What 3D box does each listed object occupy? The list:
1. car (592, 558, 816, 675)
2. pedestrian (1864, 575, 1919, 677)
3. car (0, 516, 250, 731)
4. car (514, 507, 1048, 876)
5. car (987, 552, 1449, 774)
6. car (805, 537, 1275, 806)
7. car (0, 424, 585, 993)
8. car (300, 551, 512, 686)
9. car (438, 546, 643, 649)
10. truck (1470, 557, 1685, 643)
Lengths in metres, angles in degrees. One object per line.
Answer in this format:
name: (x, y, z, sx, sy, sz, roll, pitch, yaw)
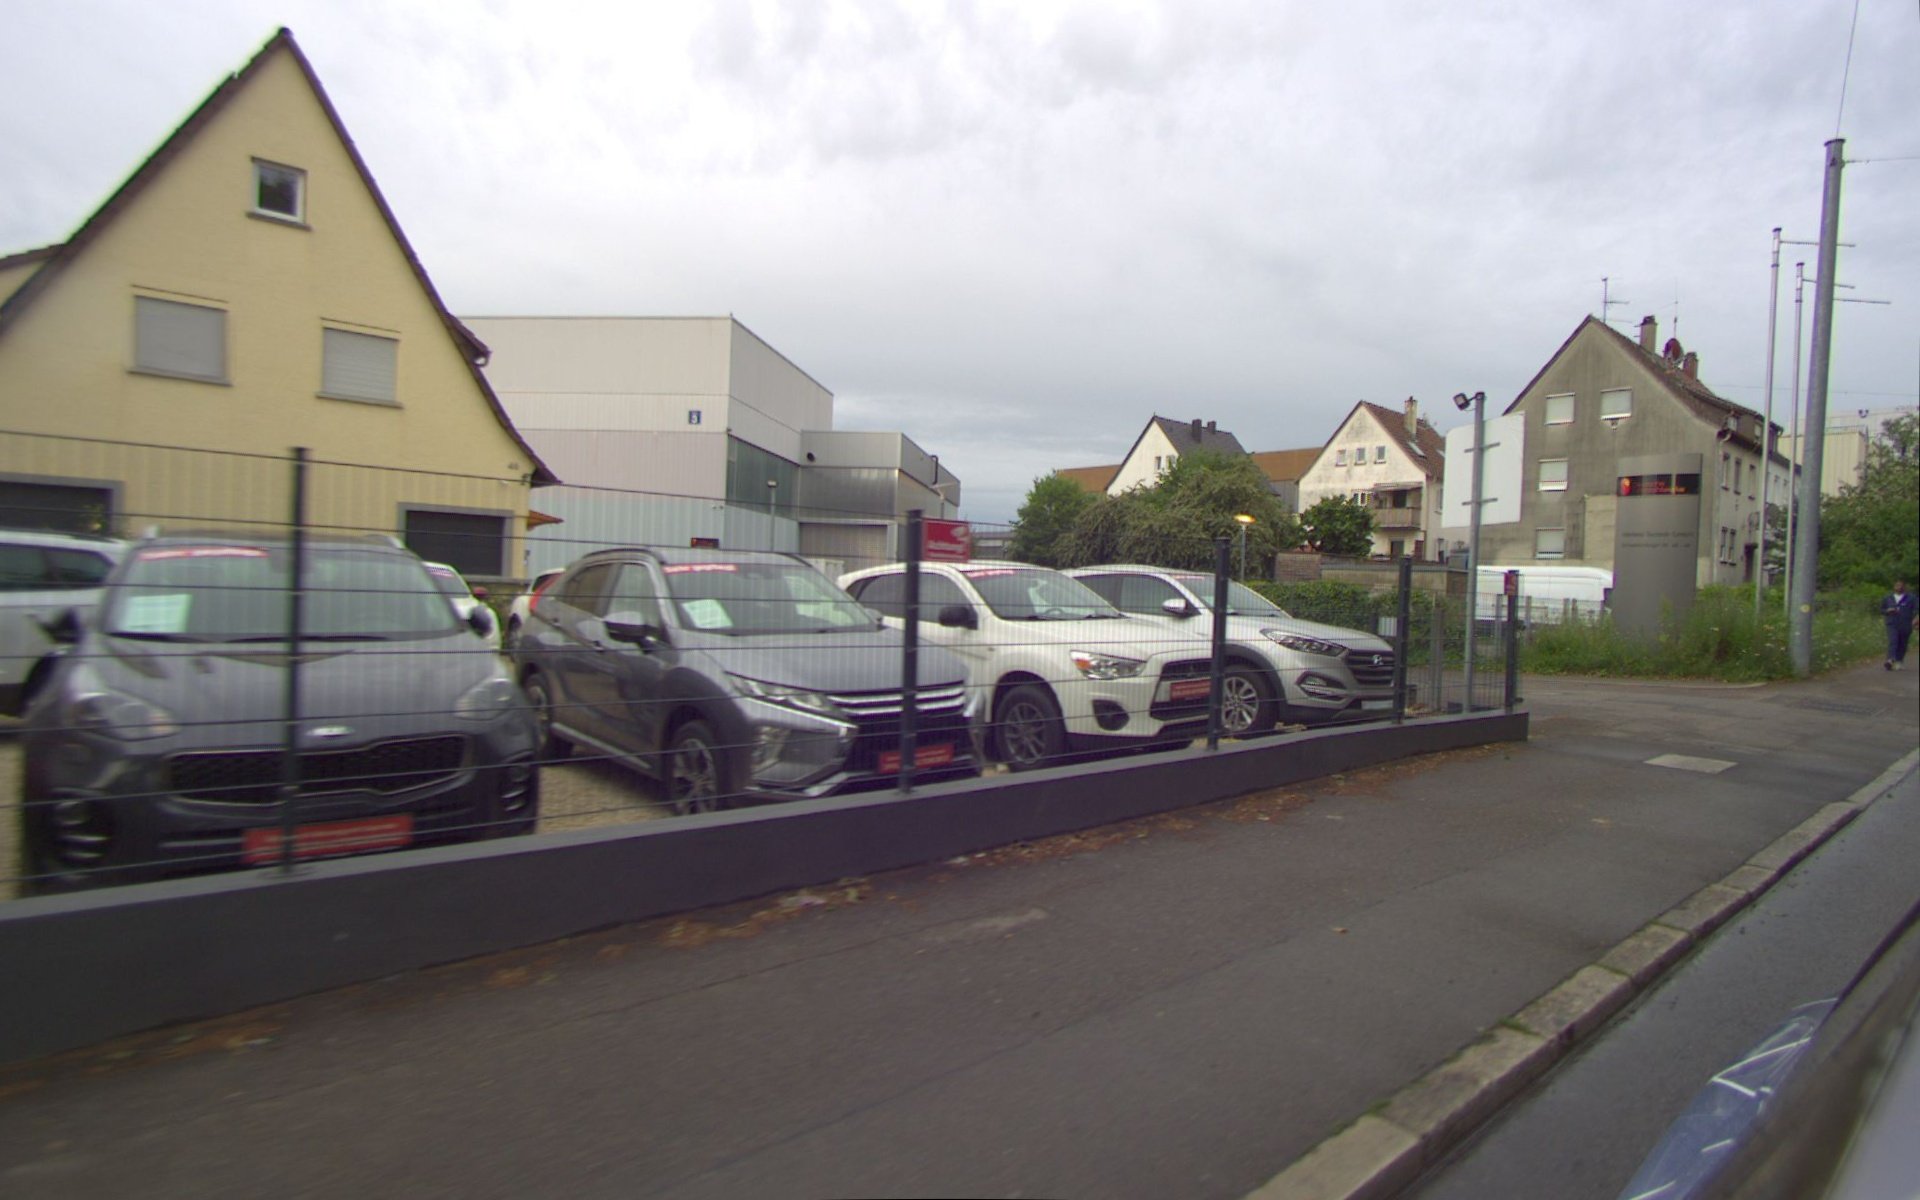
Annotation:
car: (-4.393, 0.170, 16.883, 1.837, 1.647, 4.513, 0, 2, -40)
pedestrian: (18.360, 0.482, 19.672, 0.885, 1.920, 1.045, -1, 2, -40)
car: (-7.734, 0.174, 7.776, 3.565, 1.549, 1.811, -2, 1, -41)
car: (-1.487, 0.413, 6.976, 1.837, 1.758, 4.074, -1, 1, -40)
car: (2.433, 0.472, 10.457, 1.965, 1.790, 4.311, -1, 1, -40)
car: (0.463, 0.452, 8.656, 1.760, 1.746, 3.956, -1, 0, -40)
car: (-3.659, 0.313, 5.329, 1.837, 1.758, 4.236, -1, 1, -40)
car: (-7.546, 0.204, 13.618, 1.728, 1.551, 3.769, 0, 0, -41)
car: (-7.071, -0.059, 16.852, 1.966, 1.487, 3.993, -1, 1, -41)
truck: (20.709, -0.030, 34.218, 2.008, 2.670, 5.855, -1, 1, -40)
